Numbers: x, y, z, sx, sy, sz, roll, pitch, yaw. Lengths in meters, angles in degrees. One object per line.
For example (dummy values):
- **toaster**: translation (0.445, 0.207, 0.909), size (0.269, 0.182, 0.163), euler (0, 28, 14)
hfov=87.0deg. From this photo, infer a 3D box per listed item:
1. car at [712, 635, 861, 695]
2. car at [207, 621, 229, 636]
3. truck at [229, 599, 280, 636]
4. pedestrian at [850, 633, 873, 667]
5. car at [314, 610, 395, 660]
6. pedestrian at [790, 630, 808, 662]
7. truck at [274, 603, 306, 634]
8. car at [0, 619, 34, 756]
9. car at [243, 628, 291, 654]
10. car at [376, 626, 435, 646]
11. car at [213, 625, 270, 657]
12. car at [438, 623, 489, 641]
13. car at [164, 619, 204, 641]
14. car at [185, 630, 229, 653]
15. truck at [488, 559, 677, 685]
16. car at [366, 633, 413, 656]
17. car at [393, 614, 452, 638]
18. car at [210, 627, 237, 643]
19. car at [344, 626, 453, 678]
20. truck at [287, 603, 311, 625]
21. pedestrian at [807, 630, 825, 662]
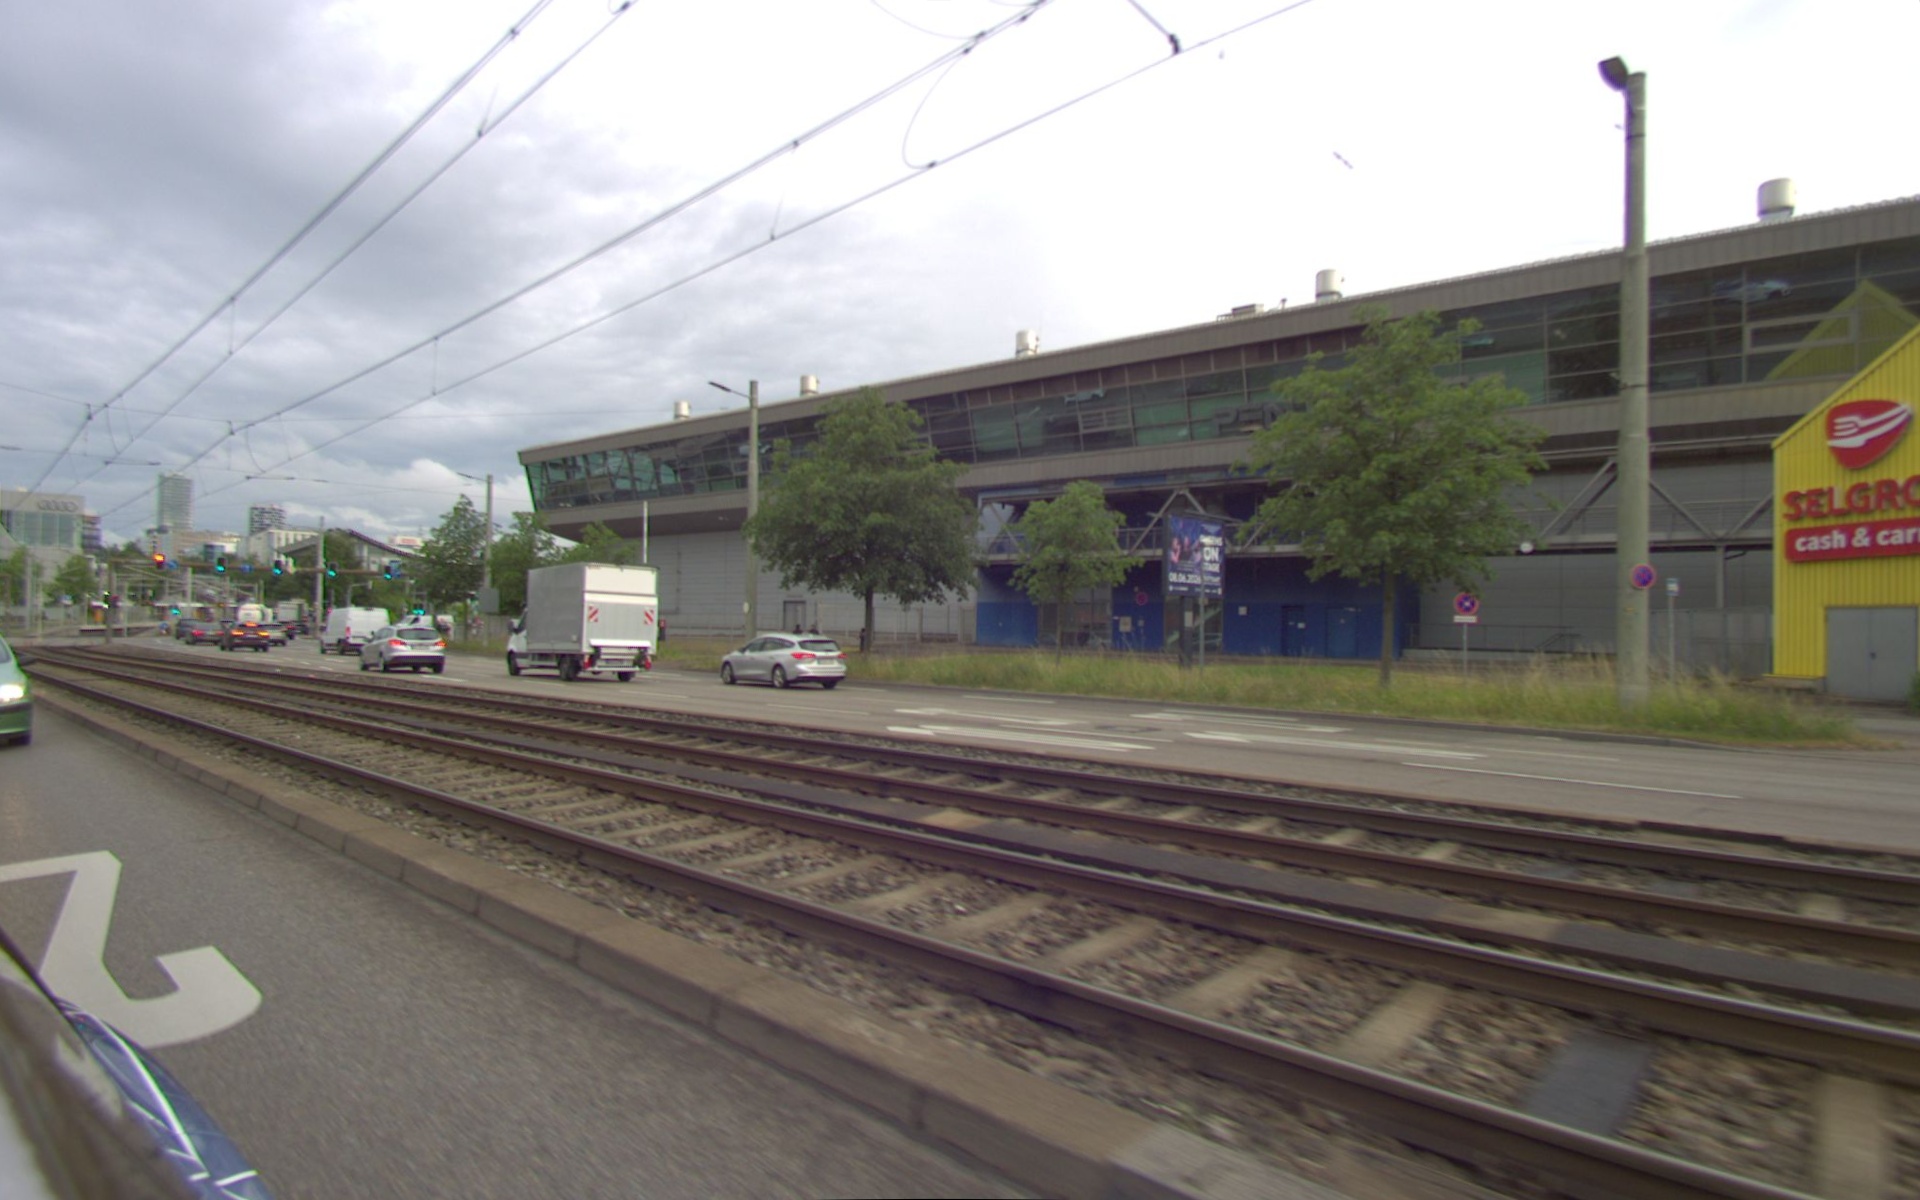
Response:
- **car**: translation (-4.846, 1.734, 27.877), size (1.875, 1.500, 4.427), euler (3, -4, -43)
- **car**: translation (-84.560, 3.279, 115.297), size (1.793, 1.586, 4.006), euler (2, -3, -40)
- **truck**: translation (-78.359, 2.032, 112.332), size (4.026, 3.785, 10.875), euler (2, -3, -37)
- **pedestrian**: translation (-4.304, 2.186, 44.208), size (0.744, 1.450, 0.602), euler (-1, 0, 38)
- **car**: translation (-32.679, 1.913, 54.517), size (2.403, 2.519, 6.554), euler (4, -4, -42)
- **pedestrian**: translation (-7.488, 2.150, 47.069), size (0.651, 1.467, 0.507), euler (-1, 0, 32)
- **truck**: translation (-103.631, 2.903, 156.559), size (3.213, 4.564, 7.114), euler (2, -3, -27)
- **car**: translation (-12.523, 1.010, 12.146), size (4.137, 1.509, 1.738), euler (-1, 0, 43)
- **car**: translation (-47.236, 2.789, 68.923), size (1.917, 1.684, 4.512), euler (4, -4, -44)
- **car**: translation (-54.053, 3.524, 98.664), size (1.996, 1.849, 4.606), euler (-1, -3, 36)
- **car**: translation (-39.924, 2.285, 56.196), size (1.886, 1.669, 4.363), euler (5, -5, -44)
- **car**: translation (-50.716, 3.293, 103.445), size (1.909, 1.729, 4.203), euler (-1, -3, 35)
- **car**: translation (-65.766, 2.558, 85.777), size (4.679, 1.745, 1.971), euler (-2, -4, 44)
- **car**: translation (-51.164, 2.829, 68.729), size (1.924, 1.496, 5.001), euler (3, -3, -42)
- **truck**: translation (-11.608, 0.769, 30.707), size (2.695, 3.383, 7.159), euler (5, -5, -43)
- **car**: translation (-35.726, 2.782, 63.315), size (1.726, 1.410, 4.006), euler (3, -3, -41)
- **car**: translation (-55.478, 2.744, 104.479), size (1.994, 2.350, 5.006), euler (-1, -3, 33)
- **car**: translation (-70.721, 3.339, 97.184), size (1.772, 1.457, 3.929), euler (2, -3, -41)
- **car**: translation (-18.011, 1.648, 32.369), size (4.442, 1.510, 1.785), euler (-2, -6, 44)
- **truck**: translation (-127.499, 2.731, 195.363), size (3.330, 4.171, 7.652), euler (2, -3, -30)
- **pedestrian**: translation (-6.761, 2.134, 47.490), size (0.651, 1.467, 0.447), euler (-1, 0, 32)
